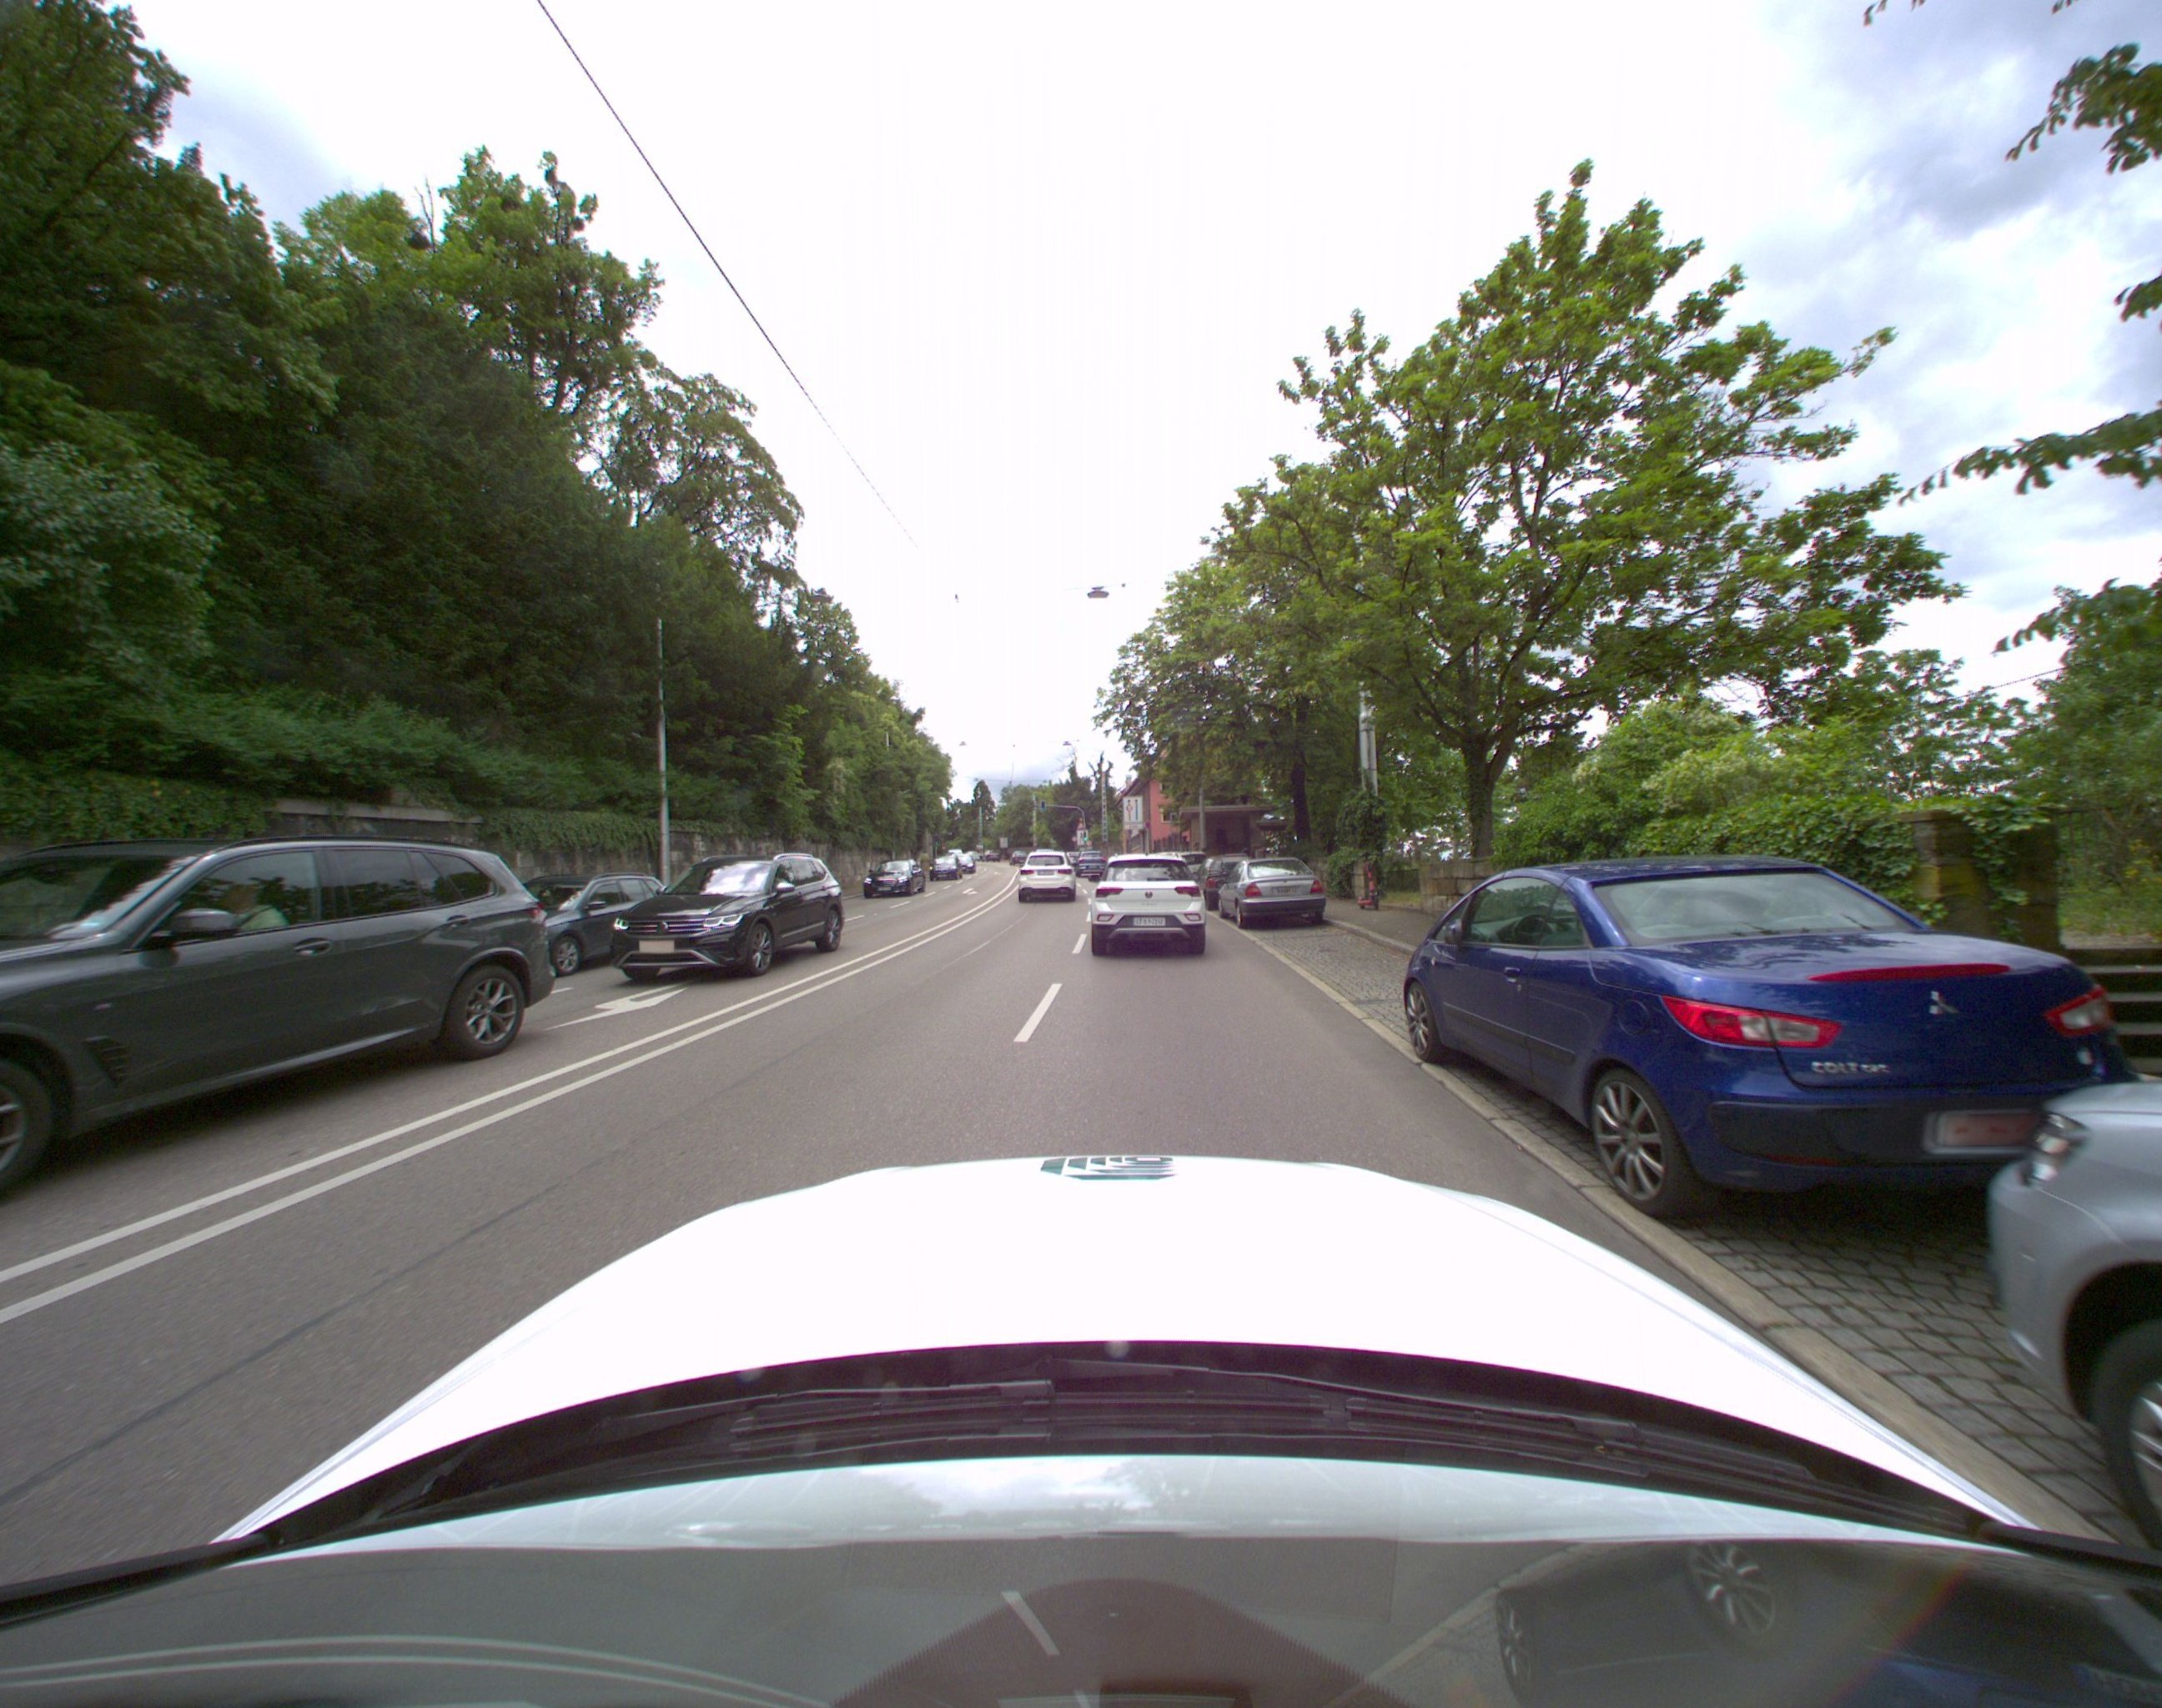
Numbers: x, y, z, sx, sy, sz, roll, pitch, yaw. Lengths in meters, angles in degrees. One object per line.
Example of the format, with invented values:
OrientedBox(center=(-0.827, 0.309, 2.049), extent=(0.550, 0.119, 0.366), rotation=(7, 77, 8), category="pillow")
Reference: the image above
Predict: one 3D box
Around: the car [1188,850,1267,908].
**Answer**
OrientedBox(center=(4.111, 0.678, 23.263), extent=(1.556, 1.422, 3.424), rotation=(-4, 0, 0), category="car")

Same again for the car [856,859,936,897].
OrientedBox(center=(-7.542, 0.940, 33.700), extent=(1.994, 1.409, 4.758), rotation=(-2, 0, 2), category="car")

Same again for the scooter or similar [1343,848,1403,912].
OrientedBox(center=(6.258, 0.544, 17.553), extent=(0.558, 1.244, 2.002), rotation=(-7, -1, 4), category="scooter or similar")

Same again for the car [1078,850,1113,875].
OrientedBox(center=(0.855, 0.507, 49.361), extent=(1.987, 1.414, 4.150), rotation=(-2, -1, 1), category="car")

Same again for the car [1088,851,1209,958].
OrientedBox(center=(1.086, 0.760, 13.799), extent=(1.750, 1.556, 3.798), rotation=(0, -1, 3), category="car")

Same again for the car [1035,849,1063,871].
OrientedBox(center=(-2.351, 0.412, 59.925), extent=(1.988, 1.556, 4.148), rotation=(0, 0, -2), category="car")

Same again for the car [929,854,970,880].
OrientedBox(center=(-8.102, 0.765, 50.407), extent=(1.837, 1.436, 3.999), rotation=(-2, 0, 0), category="car")

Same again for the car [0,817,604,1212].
OrientedBox(center=(-5.684, 0.758, 5.348), extent=(1.951, 1.750, 4.882), rotation=(-2, -1, 3), category="car")

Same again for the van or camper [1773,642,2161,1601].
OrientedBox(center=(2.793, 0.485, 0.299), extent=(1.690, 1.845, 4.248), rotation=(-2, -1, 5), category="van or camper")

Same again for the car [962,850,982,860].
OrientedBox(center=(-17.120, 0.215, 127.818), extent=(2.003, 1.450, 4.116), rotation=(-1, -1, -25), category="car")

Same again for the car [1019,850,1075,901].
OrientedBox(center=(-1.080, 0.706, 27.741), extent=(1.752, 1.609, 3.794), rotation=(0, -1, 0), category="car")

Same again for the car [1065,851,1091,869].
OrientedBox(center=(-0.294, 0.498, 66.450), extent=(1.988, 1.450, 4.147), rotation=(-1, -1, -2), category="car")

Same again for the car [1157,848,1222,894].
OrientedBox(center=(4.035, 0.588, 30.795), extent=(1.711, 1.471, 4.035), rotation=(-5, 1, -2), category="car")

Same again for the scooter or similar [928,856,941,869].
OrientedBox(center=(-13.920, 0.807, 77.434), extent=(0.429, 1.237, 1.105), rotation=(2, -2, 37), category="scooter or similar")

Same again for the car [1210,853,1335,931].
OrientedBox(center=(4.005, 0.731, 17.766), extent=(1.763, 1.399, 4.553), rotation=(-3, -1, 2), category="car")

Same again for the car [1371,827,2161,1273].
OrientedBox(center=(3.104, 0.689, 4.747), extent=(1.590, 1.460, 3.946), rotation=(-3, -1, 4), category="car")

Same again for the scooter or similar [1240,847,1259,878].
OrientedBox(center=(7.029, 0.343, 34.074), extent=(0.514, 1.260, 1.169), rotation=(-4, 0, 2), category="scooter or similar")

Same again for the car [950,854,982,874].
OrientedBox(center=(-8.833, 0.771, 62.815), extent=(1.838, 1.409, 4.453), rotation=(-3, 0, -1), category="car")

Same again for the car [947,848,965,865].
OrientedBox(center=(-14.829, 0.322, 96.359), extent=(1.893, 1.848, 4.381), rotation=(-2, 0, -10), category="car")

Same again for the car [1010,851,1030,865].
OrientedBox(center=(-6.387, 0.406, 84.974), extent=(1.781, 1.454, 3.986), rotation=(0, 0, -10), category="car")

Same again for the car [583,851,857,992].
OrientedBox(center=(-5.090, 0.847, 12.340), extent=(1.840, 1.651, 4.627), rotation=(-3, -1, 2), category="car")

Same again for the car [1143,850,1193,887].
OrientedBox(center=(3.842, 0.599, 36.484), extent=(1.670, 1.461, 4.364), rotation=(-3, 0, -1), category="car")

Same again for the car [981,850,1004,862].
OrientedBox(center=(-12.614, 0.297, 115.904), extent=(2.002, 1.575, 4.118), rotation=(-1, -1, -24), category="car")
